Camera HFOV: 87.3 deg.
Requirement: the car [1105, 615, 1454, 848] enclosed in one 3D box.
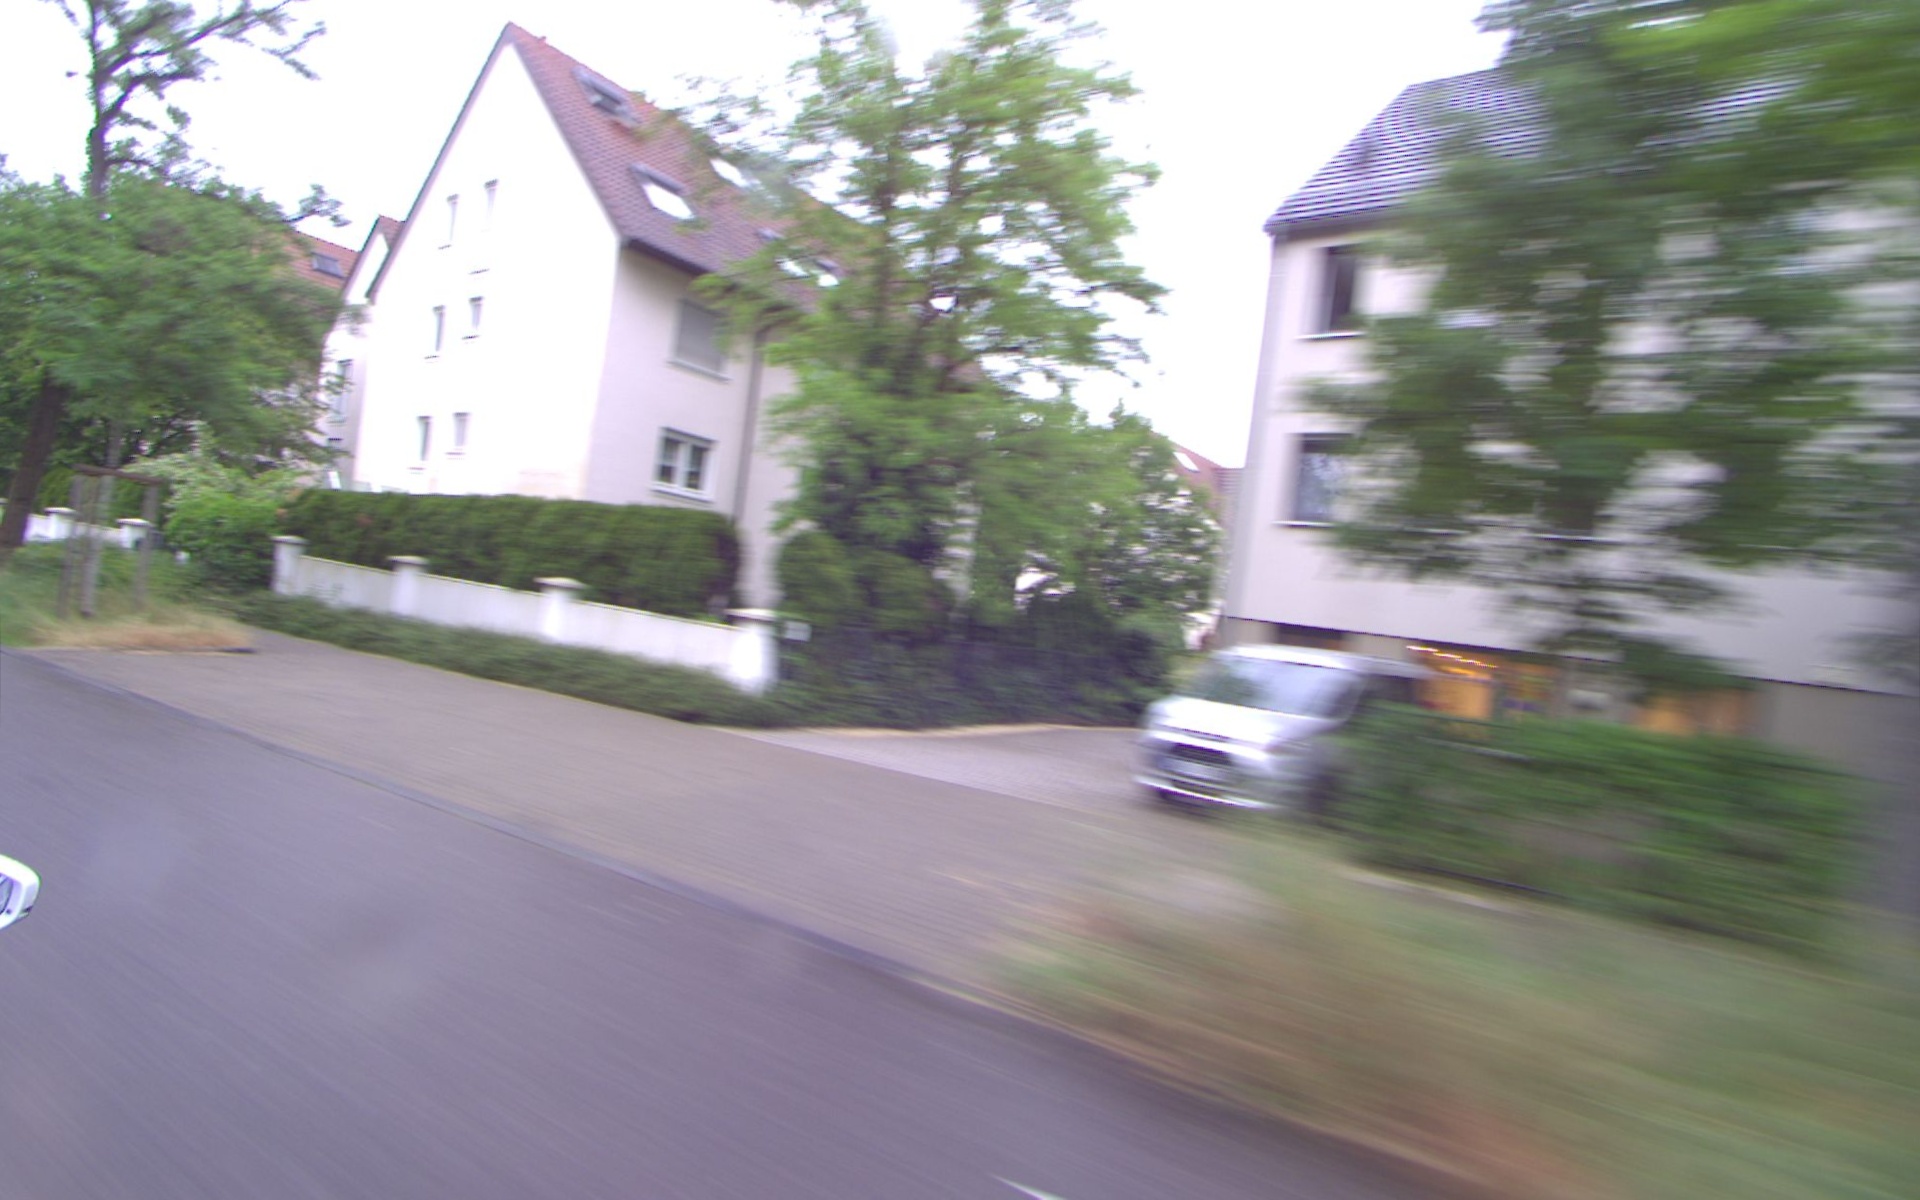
[{"bbox_3d":[3.604,1.397,10.799,1.848,1.838,4.302,6,-3,42],"label":"car"}]
